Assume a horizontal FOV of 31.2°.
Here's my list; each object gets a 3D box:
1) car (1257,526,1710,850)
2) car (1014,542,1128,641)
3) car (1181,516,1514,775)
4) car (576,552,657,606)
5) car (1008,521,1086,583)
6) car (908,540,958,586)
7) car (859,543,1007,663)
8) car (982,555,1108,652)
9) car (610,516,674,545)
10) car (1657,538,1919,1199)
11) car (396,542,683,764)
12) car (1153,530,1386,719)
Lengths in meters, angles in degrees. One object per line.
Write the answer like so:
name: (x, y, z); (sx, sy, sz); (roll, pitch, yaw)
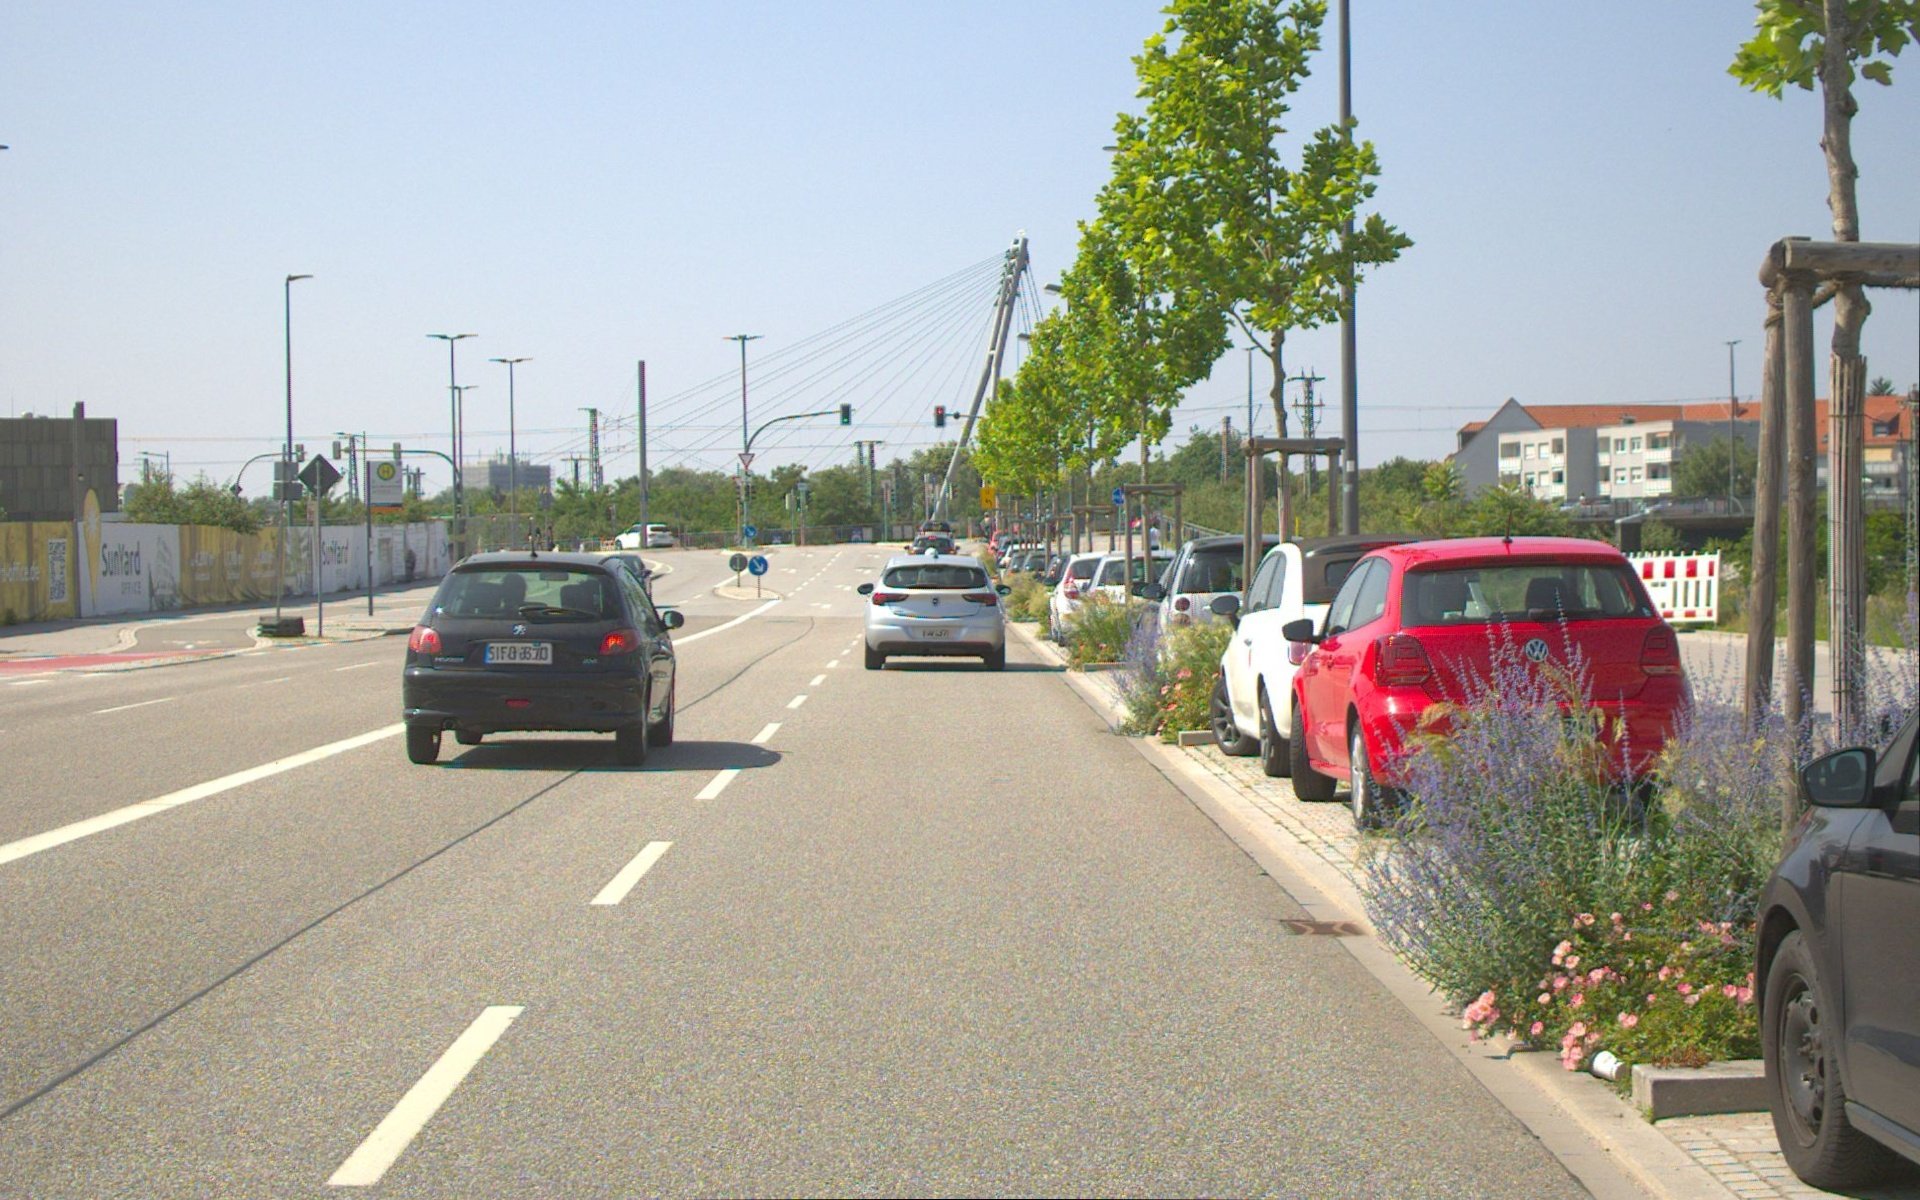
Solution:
car: (2.632, 0.372, 18.170); (1.717, 1.446, 4.001); (1, 2, -1)
car: (1.750, -0.138, 55.316); (1.746, 1.504, 4.001); (-1, 0, 1)
car: (2.493, 0.305, 22.916); (1.717, 1.519, 3.642); (-2, -1, 0)
car: (-9.095, -0.565, 91.278); (1.704, 1.347, 4.456); (-1, 0, 0)
car: (2.216, -1.213, 88.314); (1.704, 1.458, 3.954); (-2, 0, -2)
car: (-0.964, -1.351, 125.400); (1.778, 1.563, 4.000); (0, 2, 0)
car: (-0.305, 0.004, 44.280); (1.778, 1.437, 4.000); (-1, 1, 1)
car: (1.397, 0.023, 55.001); (1.908, 1.474, 4.157); (-1, 1, 3)
car: (-18.588, -4.047, 200.794); (1.855, 1.644, 3.999); (0, 1, -38)
car: (2.664, 0.588, 6.611); (1.633, 1.424, 4.241); (-2, 1, -2)
car: (-2.906, 0.318, 24.405); (1.619, 1.411, 3.727); (-1, 1, -1)
car: (2.730, 0.179, 31.134); (1.908, 1.572, 4.157); (-1, 1, 3)
